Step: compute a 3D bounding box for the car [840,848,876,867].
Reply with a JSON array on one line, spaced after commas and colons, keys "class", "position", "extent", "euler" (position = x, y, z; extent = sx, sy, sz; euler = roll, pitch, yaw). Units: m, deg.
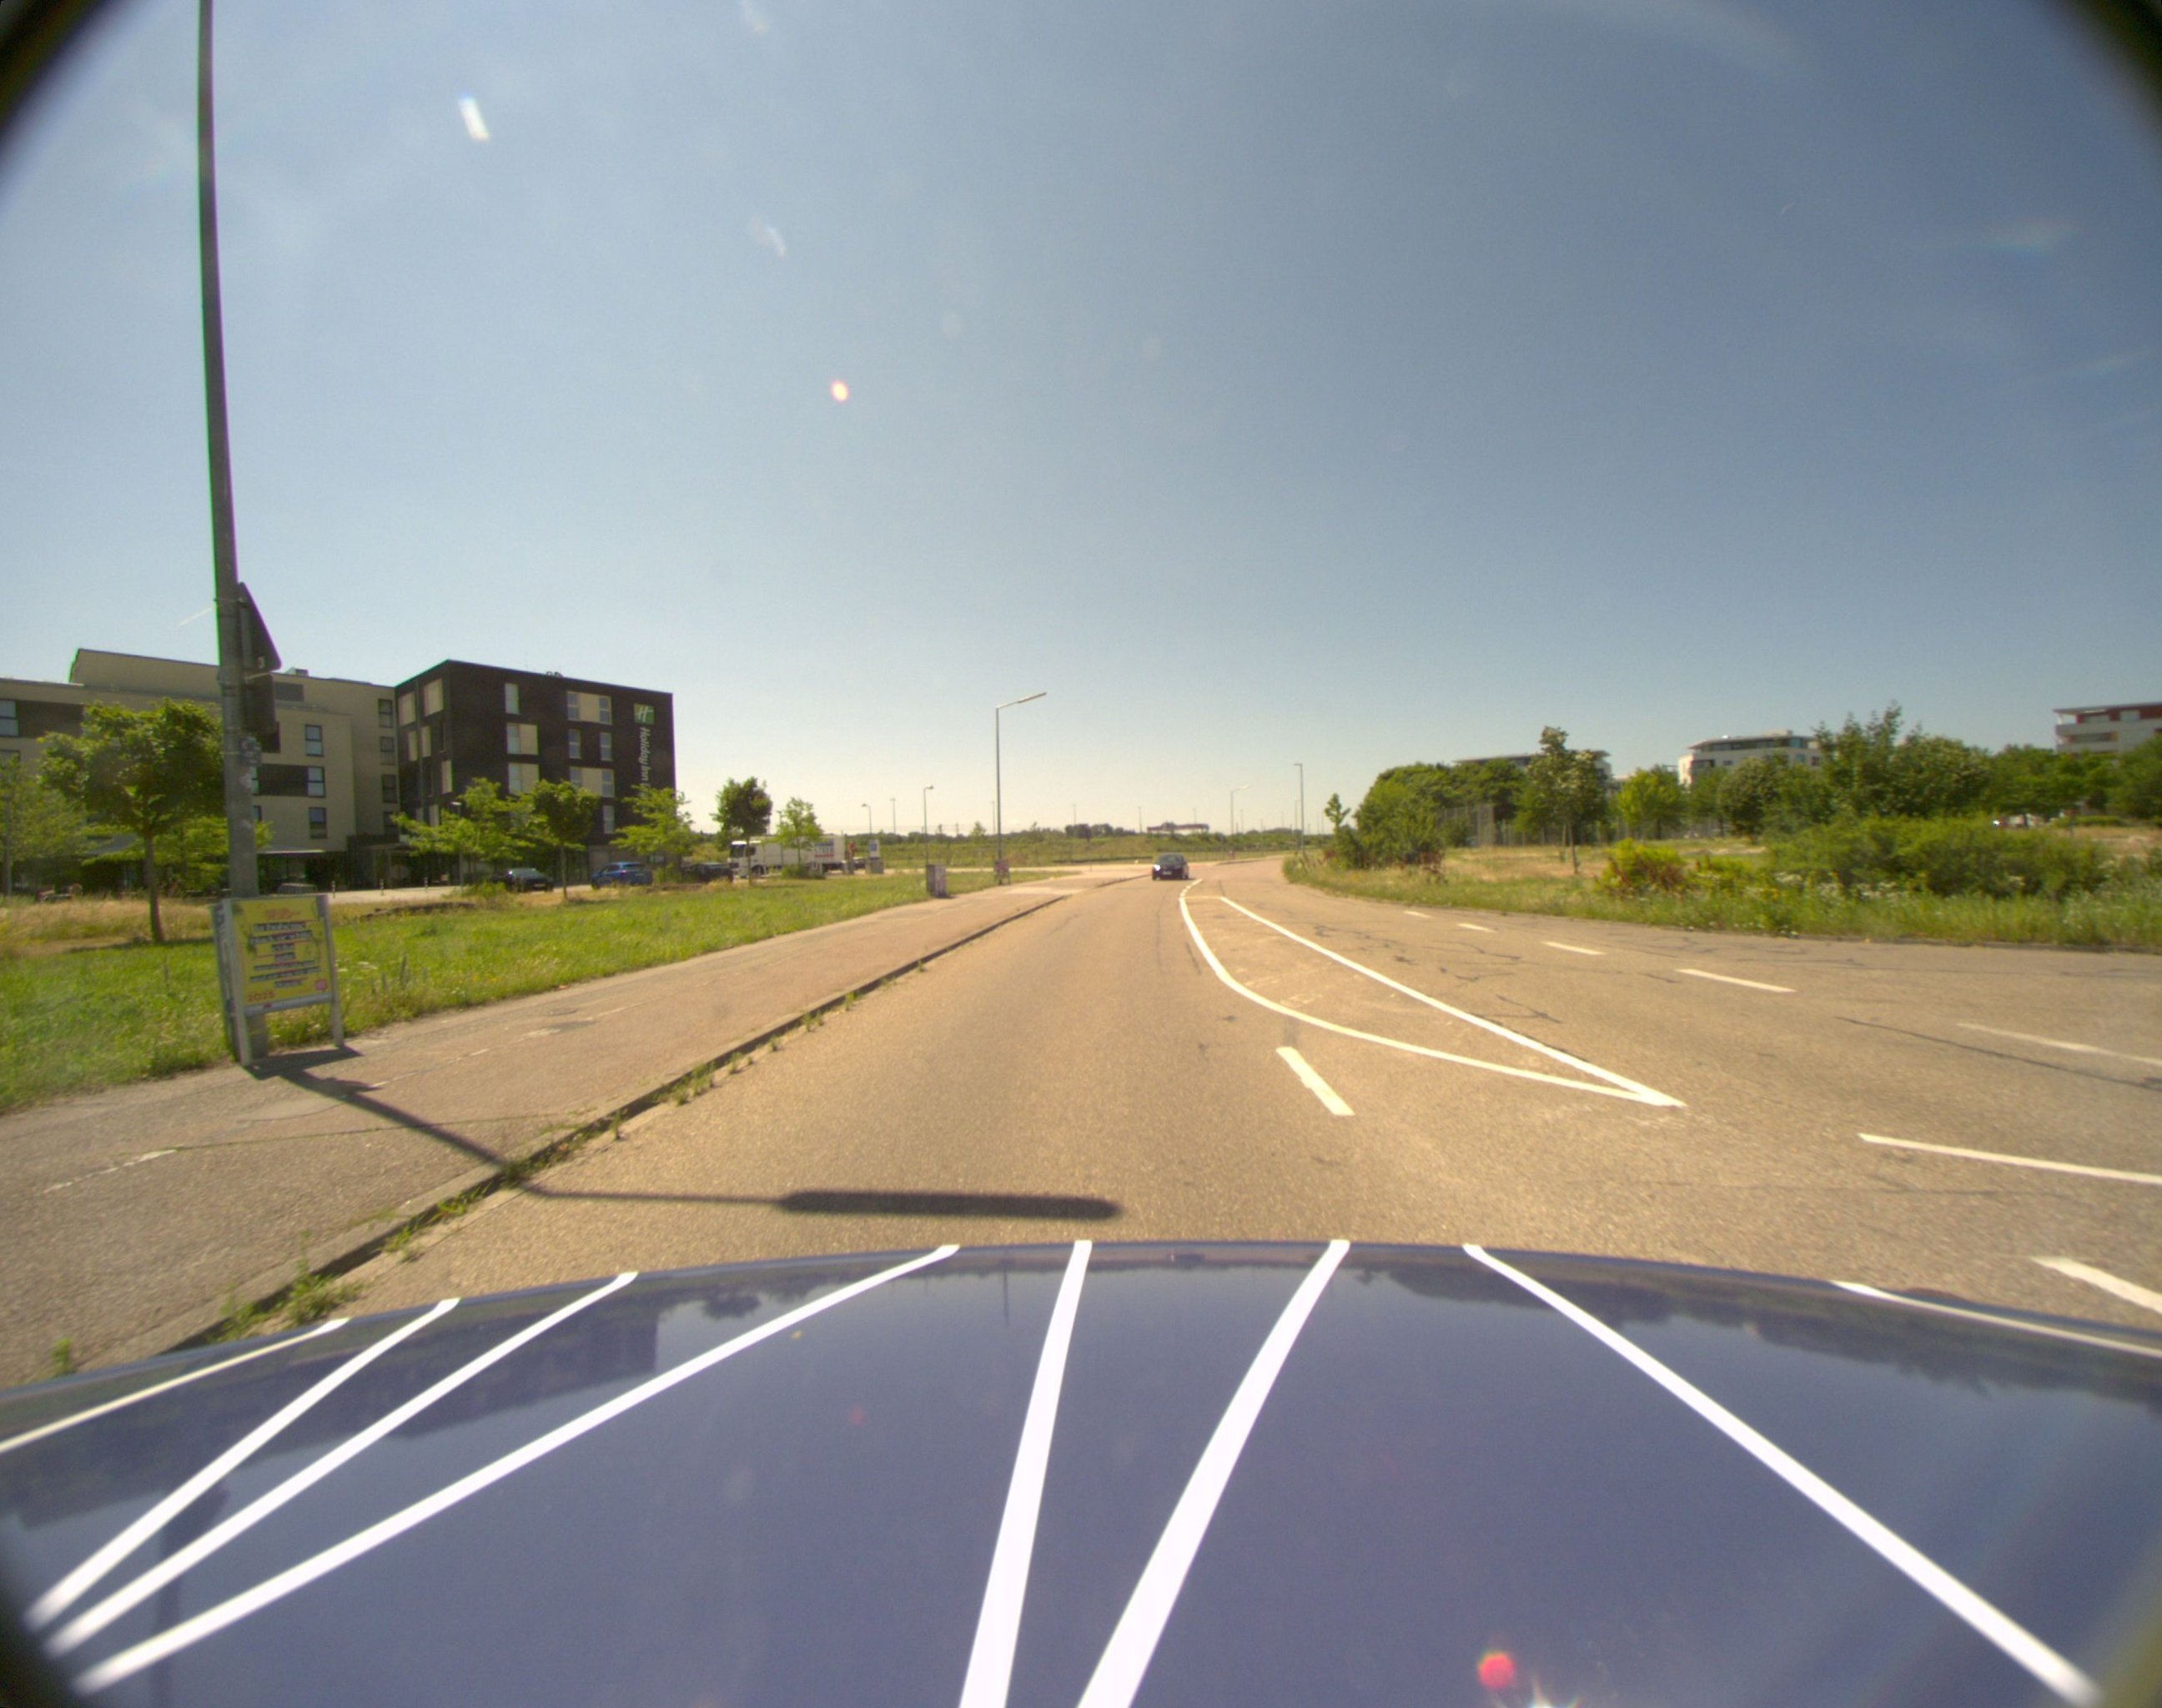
[{"class": "car", "position": [-24.889, 0.359, 84.650], "extent": [3.905, 2.002, 1.884], "euler": [-1, 1, 37]}]

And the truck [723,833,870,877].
[{"class": "truck", "position": [-24.111, -0.076, 65.438], "extent": [3.009, 3.442, 12.163], "euler": [1, 2, 37]}]

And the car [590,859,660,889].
[{"class": "car", "position": [-26.334, 1.137, 43.862], "extent": [4.060, 1.642, 1.958], "euler": [-1, 1, 35]}]

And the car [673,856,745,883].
[{"class": "car", "position": [-23.186, 0.975, 47.335], "extent": [4.495, 1.553, 2.036], "euler": [-1, 1, 34]}]

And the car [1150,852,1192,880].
[{"class": "car", "position": [5.040, 0.627, 42.144], "extent": [1.652, 1.458, 4.164], "euler": [-1, 0, 16]}]

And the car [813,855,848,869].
[{"class": "car", "position": [-28.932, 0.892, 87.846], "extent": [4.033, 1.548, 1.752], "euler": [-1, 0, 36]}]

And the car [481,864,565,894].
[{"class": "car", "position": [-29.245, 1.305, 39.802], "extent": [4.115, 1.436, 1.966], "euler": [-1, 1, 29]}]
